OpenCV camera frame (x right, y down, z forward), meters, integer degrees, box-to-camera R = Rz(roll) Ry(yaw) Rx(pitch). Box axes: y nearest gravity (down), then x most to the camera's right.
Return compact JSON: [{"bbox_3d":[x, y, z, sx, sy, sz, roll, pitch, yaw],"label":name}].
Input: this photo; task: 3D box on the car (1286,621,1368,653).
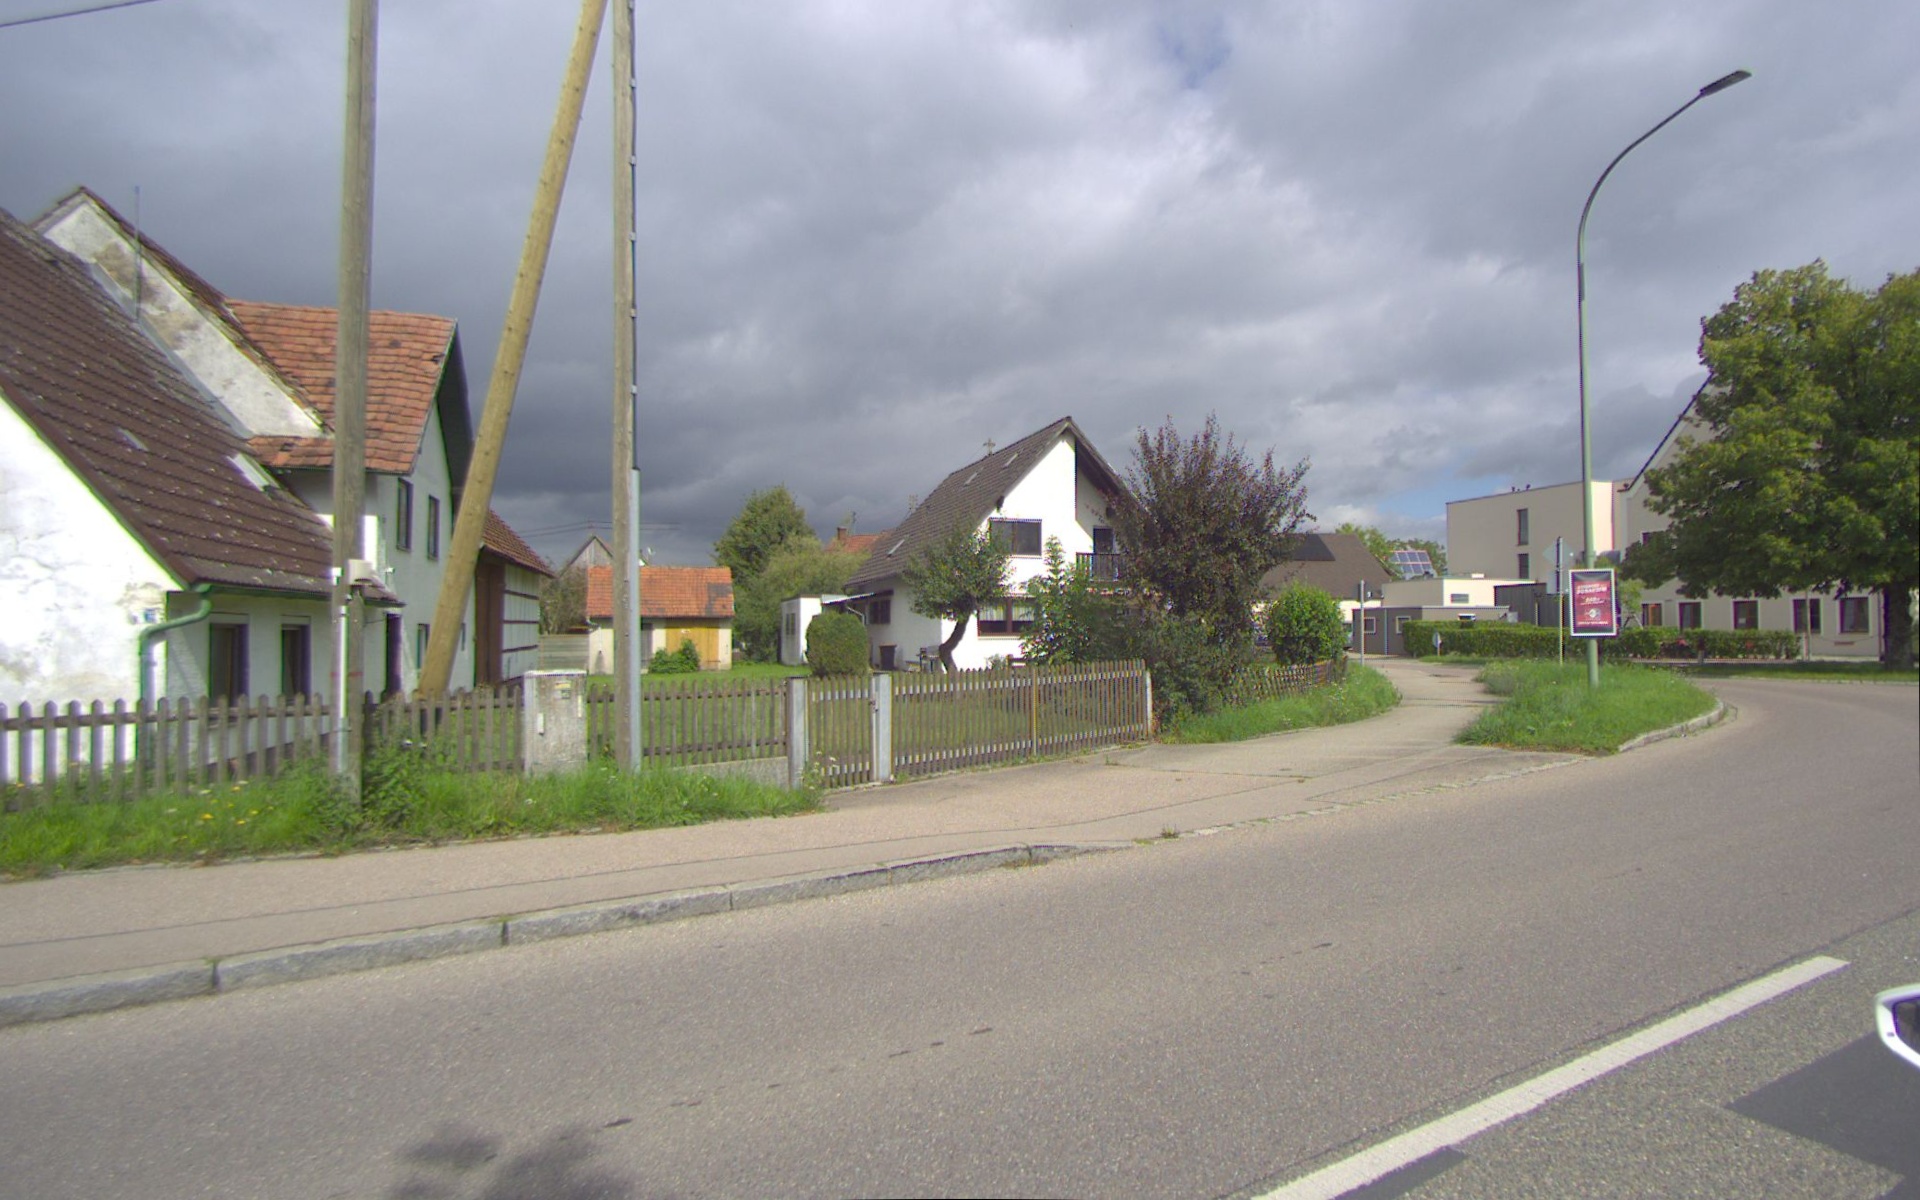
[{"bbox_3d":[23.777,2.389,65.071,4.824,2.040,1.992,0,-2,-19],"label":"car"}]
